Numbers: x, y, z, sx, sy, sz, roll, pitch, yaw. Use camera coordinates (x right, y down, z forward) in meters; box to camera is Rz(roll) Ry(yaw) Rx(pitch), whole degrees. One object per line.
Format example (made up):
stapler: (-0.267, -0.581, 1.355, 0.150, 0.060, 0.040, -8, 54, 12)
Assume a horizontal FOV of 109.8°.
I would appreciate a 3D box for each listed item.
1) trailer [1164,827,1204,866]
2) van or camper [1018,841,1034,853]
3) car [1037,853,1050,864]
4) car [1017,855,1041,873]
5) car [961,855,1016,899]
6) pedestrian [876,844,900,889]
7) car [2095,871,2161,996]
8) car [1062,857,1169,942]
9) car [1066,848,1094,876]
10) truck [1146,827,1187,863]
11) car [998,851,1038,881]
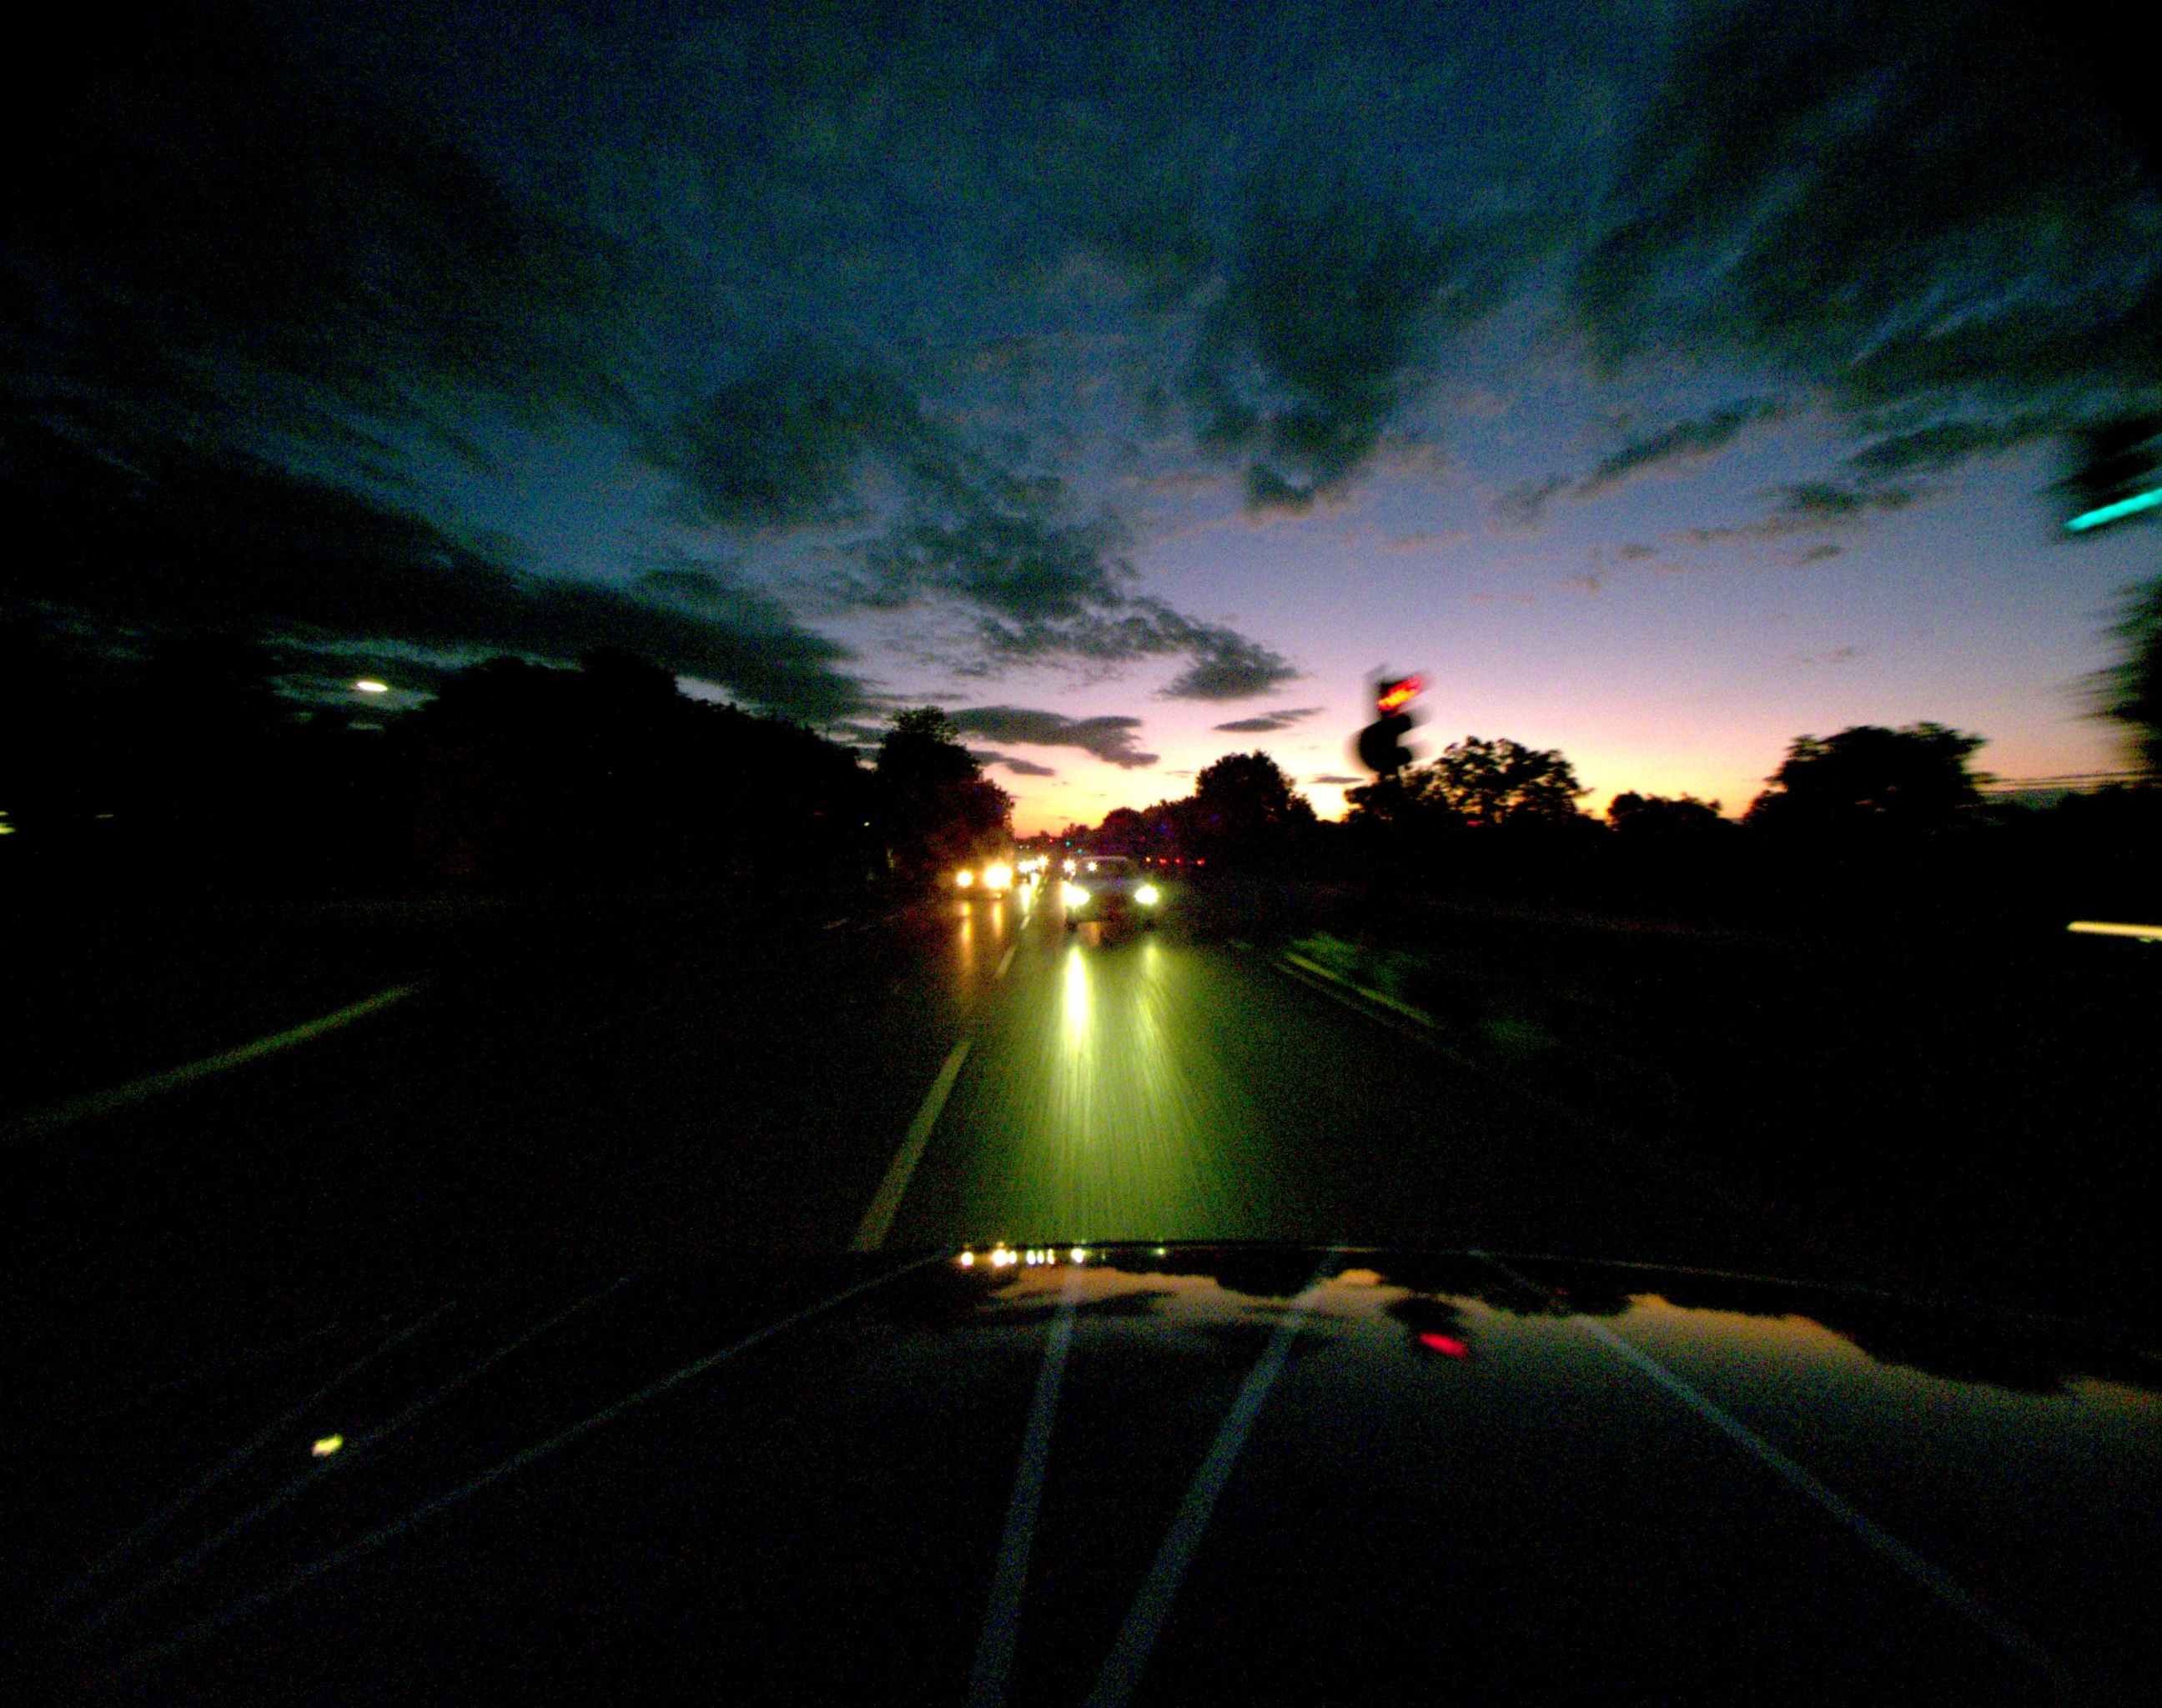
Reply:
trailer: (11.009, -0.825, 82.204, 2.584, 3.920, 8.873, 1, 0, -3)
van or camper: (-14.942, -1.813, 207.276, 3.950, 3.107, 9.940, 0, 0, -2)
car: (-4.682, 0.544, 94.139, 1.607, 1.291, 3.551, 1, 0, -4)
car: (-4.292, 0.804, 63.046, 1.819, 1.360, 3.999, -2, 1, -2)
car: (-3.464, 0.846, 28.934, 1.663, 1.528, 3.714, -1, 0, -1)
pedestrian: (-8.836, 0.576, 34.828, 0.782, 2.002, 0.712, -3, 2, -40)
car: (13.215, 0.918, 7.250, 1.656, 1.376, 4.028, -2, 1, -2)
car: (0.560, 0.804, 15.470, 1.819, 1.428, 4.646, -1, 0, -1)
car: (-0.090, 0.529, 49.865, 1.760, 1.692, 4.249, -2, 0, -1)
truck: (10.235, -1.049, 91.834, 2.734, 4.093, 10.339, -1, 1, -6)
car: (-3.530, 0.648, 43.226, 1.902, 1.547, 4.300, -3, 0, -1)
